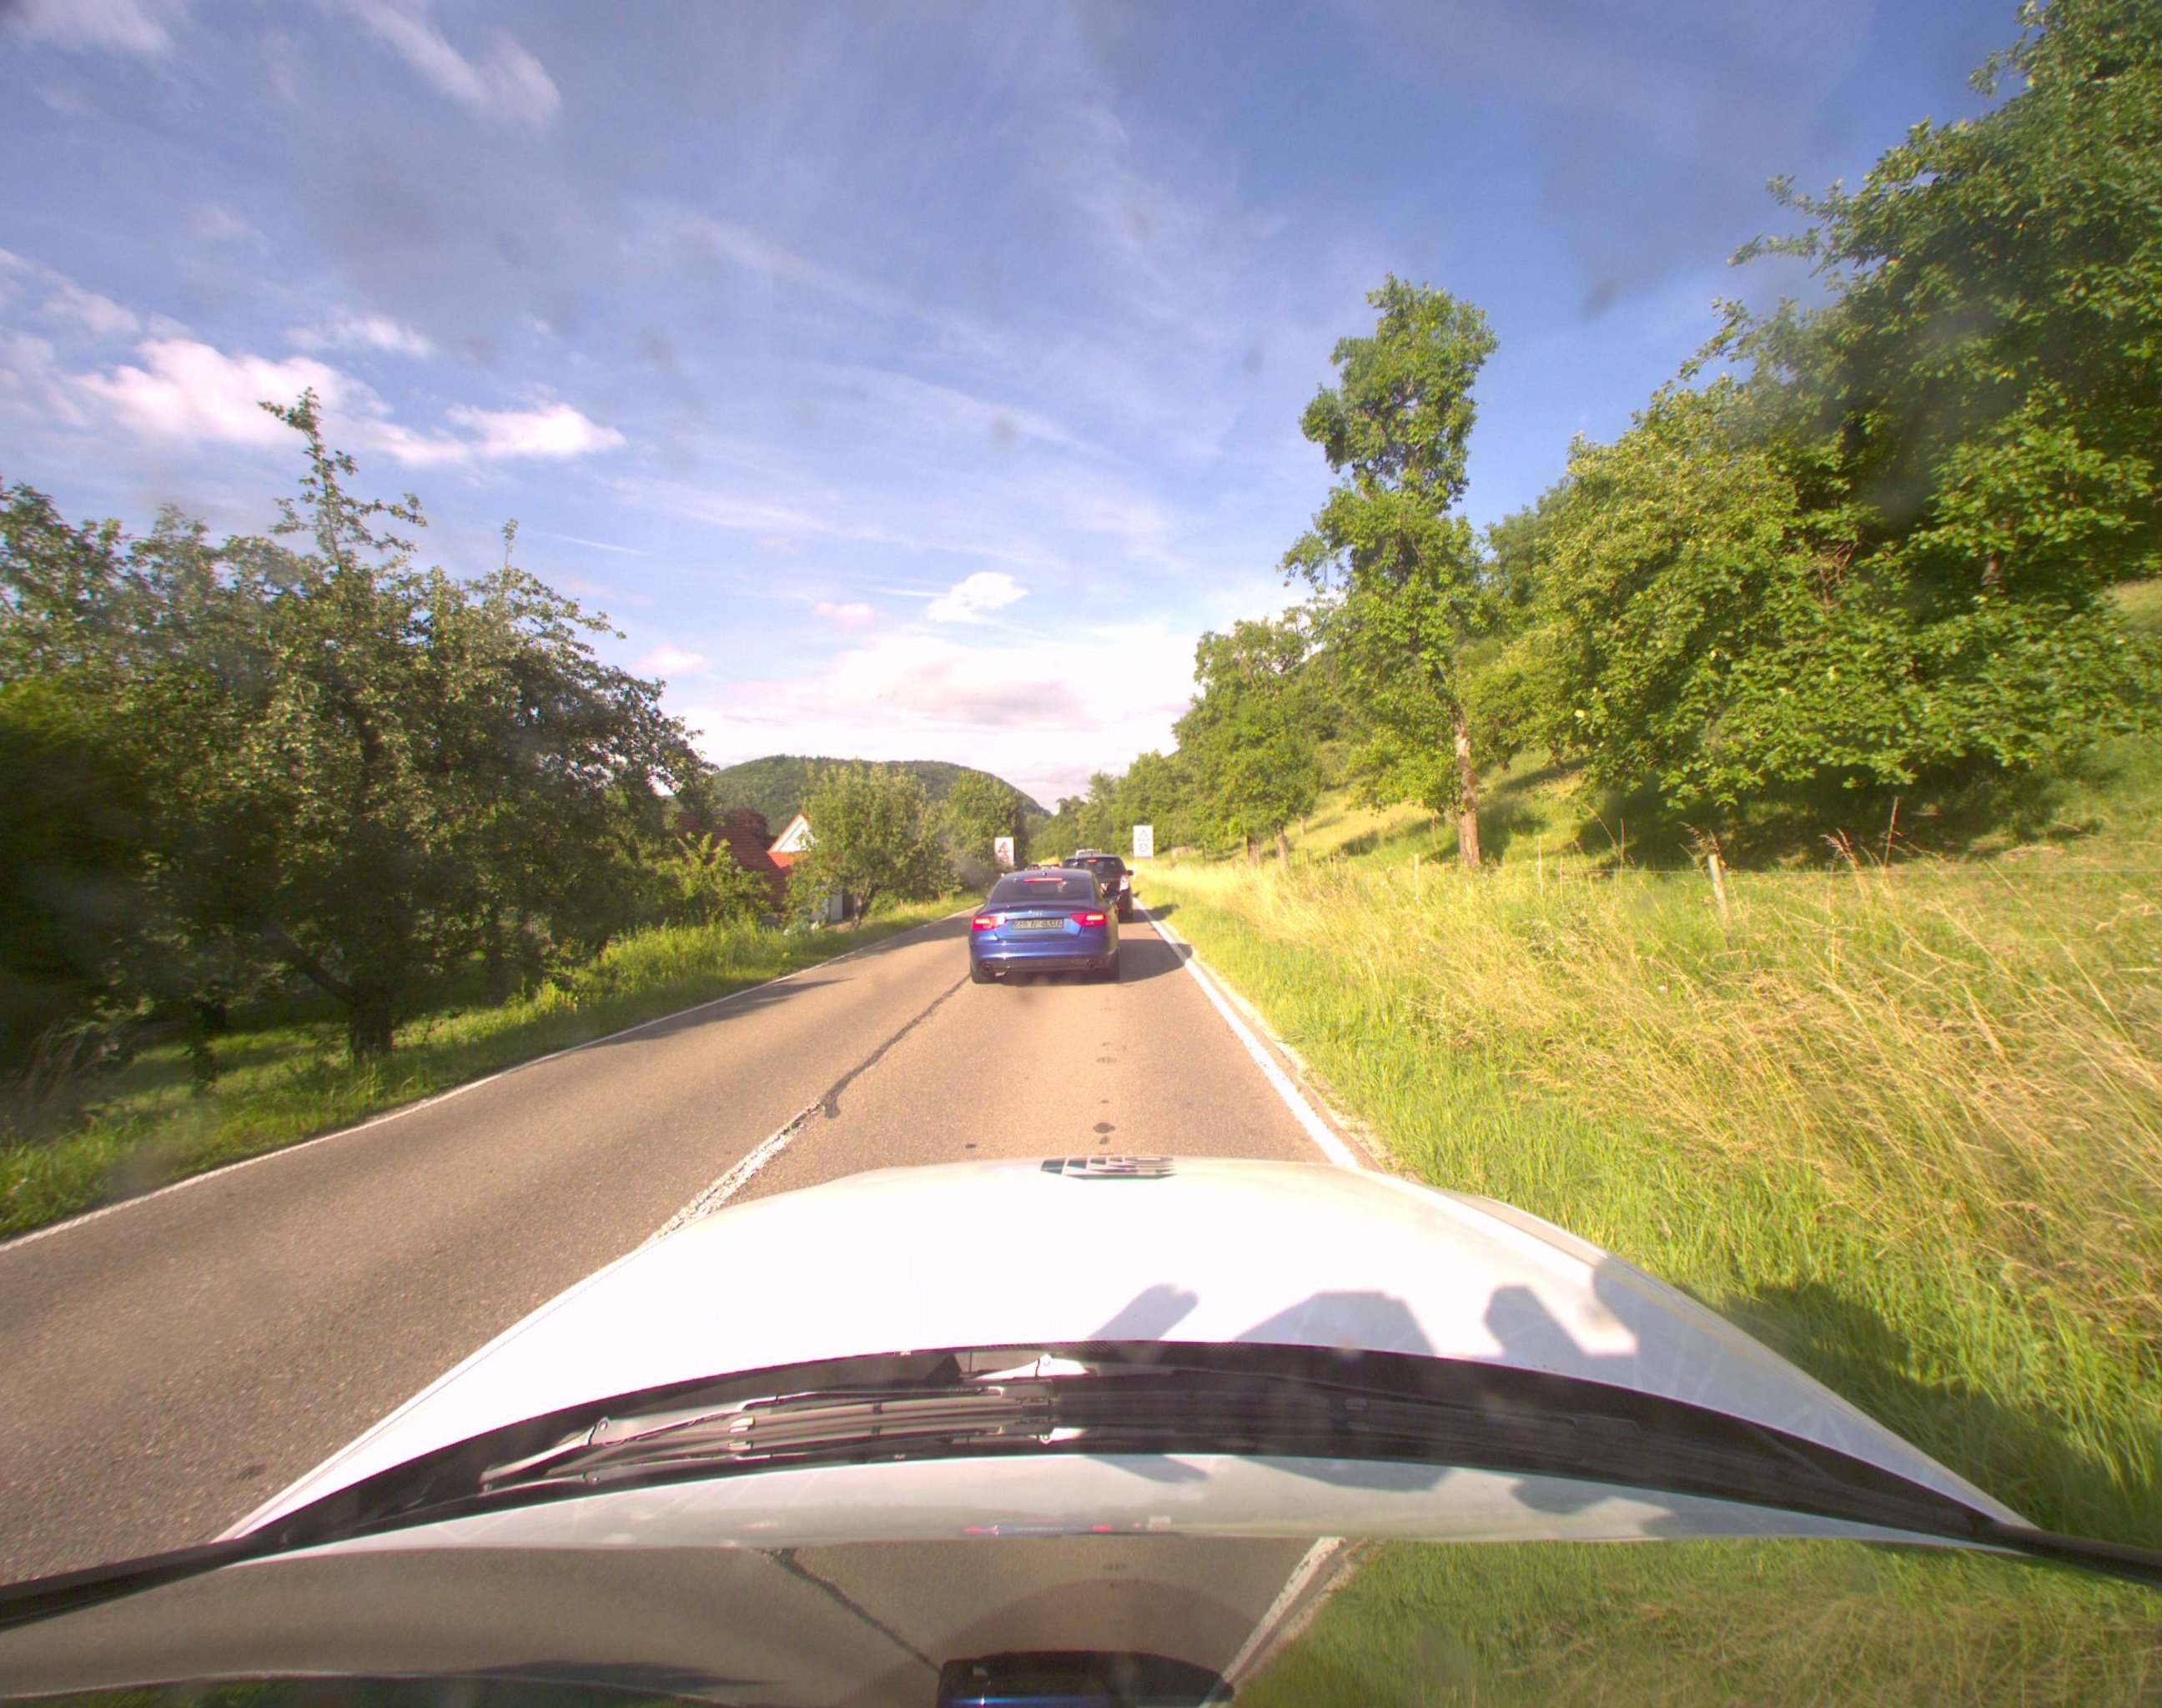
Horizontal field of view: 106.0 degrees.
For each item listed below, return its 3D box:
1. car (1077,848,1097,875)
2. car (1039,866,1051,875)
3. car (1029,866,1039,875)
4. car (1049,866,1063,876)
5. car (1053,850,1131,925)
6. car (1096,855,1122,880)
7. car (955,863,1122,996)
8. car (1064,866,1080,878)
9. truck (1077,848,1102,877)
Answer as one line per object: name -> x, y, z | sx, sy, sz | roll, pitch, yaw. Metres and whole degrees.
car -> 0.571, 0.728, 77.934 | 1.787, 2.453, 3.917 | 1, 0, -2
car -> -6.362, 2.872, 143.712 | 1.559, 1.496, 3.765 | 1, 0, -10
car -> -9.113, 3.174, 157.402 | 1.559, 1.496, 3.764 | 1, 0, -11
car -> -4.065, 2.784, 131.807 | 1.748, 1.496, 3.766 | 1, 0, -9
car -> 0.291, 0.733, 19.668 | 1.686, 1.624, 3.790 | -1, 0, 1
car -> 1.908, 0.902, 55.204 | 1.686, 1.624, 3.790 | -1, 0, 1
car -> -0.400, 0.848, 11.032 | 1.799, 1.382, 4.216 | -2, 0, 2
car -> -1.299, 2.446, 111.286 | 1.746, 1.496, 3.769 | 1, 0, -7
truck -> 0.727, 0.686, 68.350 | 1.943, 2.345, 5.094 | 1, 0, 1
